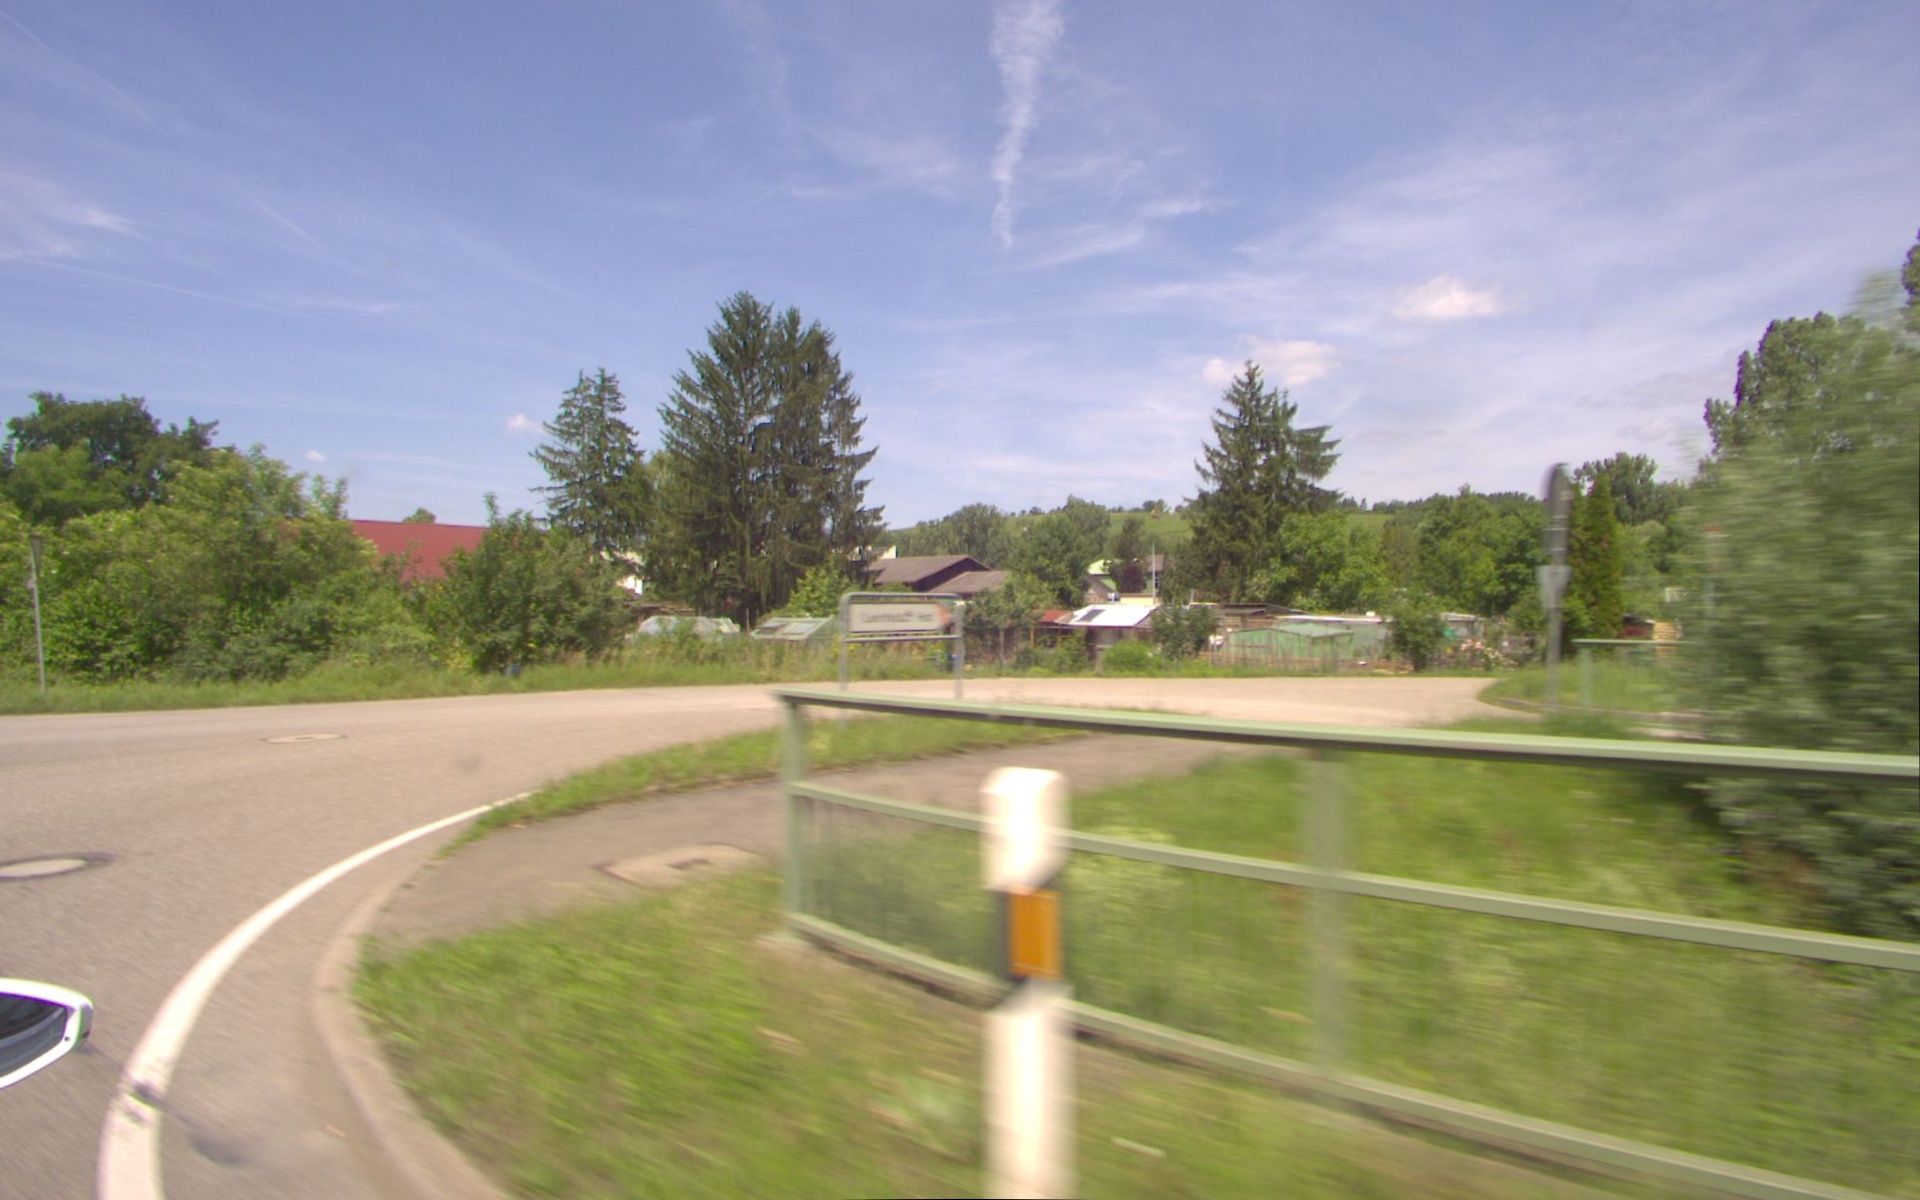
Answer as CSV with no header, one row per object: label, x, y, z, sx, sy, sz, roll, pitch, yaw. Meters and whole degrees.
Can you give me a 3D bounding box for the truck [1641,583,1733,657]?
truck,40.778,1.070,56.541,2.344,3.744,11.537,0,0,27
